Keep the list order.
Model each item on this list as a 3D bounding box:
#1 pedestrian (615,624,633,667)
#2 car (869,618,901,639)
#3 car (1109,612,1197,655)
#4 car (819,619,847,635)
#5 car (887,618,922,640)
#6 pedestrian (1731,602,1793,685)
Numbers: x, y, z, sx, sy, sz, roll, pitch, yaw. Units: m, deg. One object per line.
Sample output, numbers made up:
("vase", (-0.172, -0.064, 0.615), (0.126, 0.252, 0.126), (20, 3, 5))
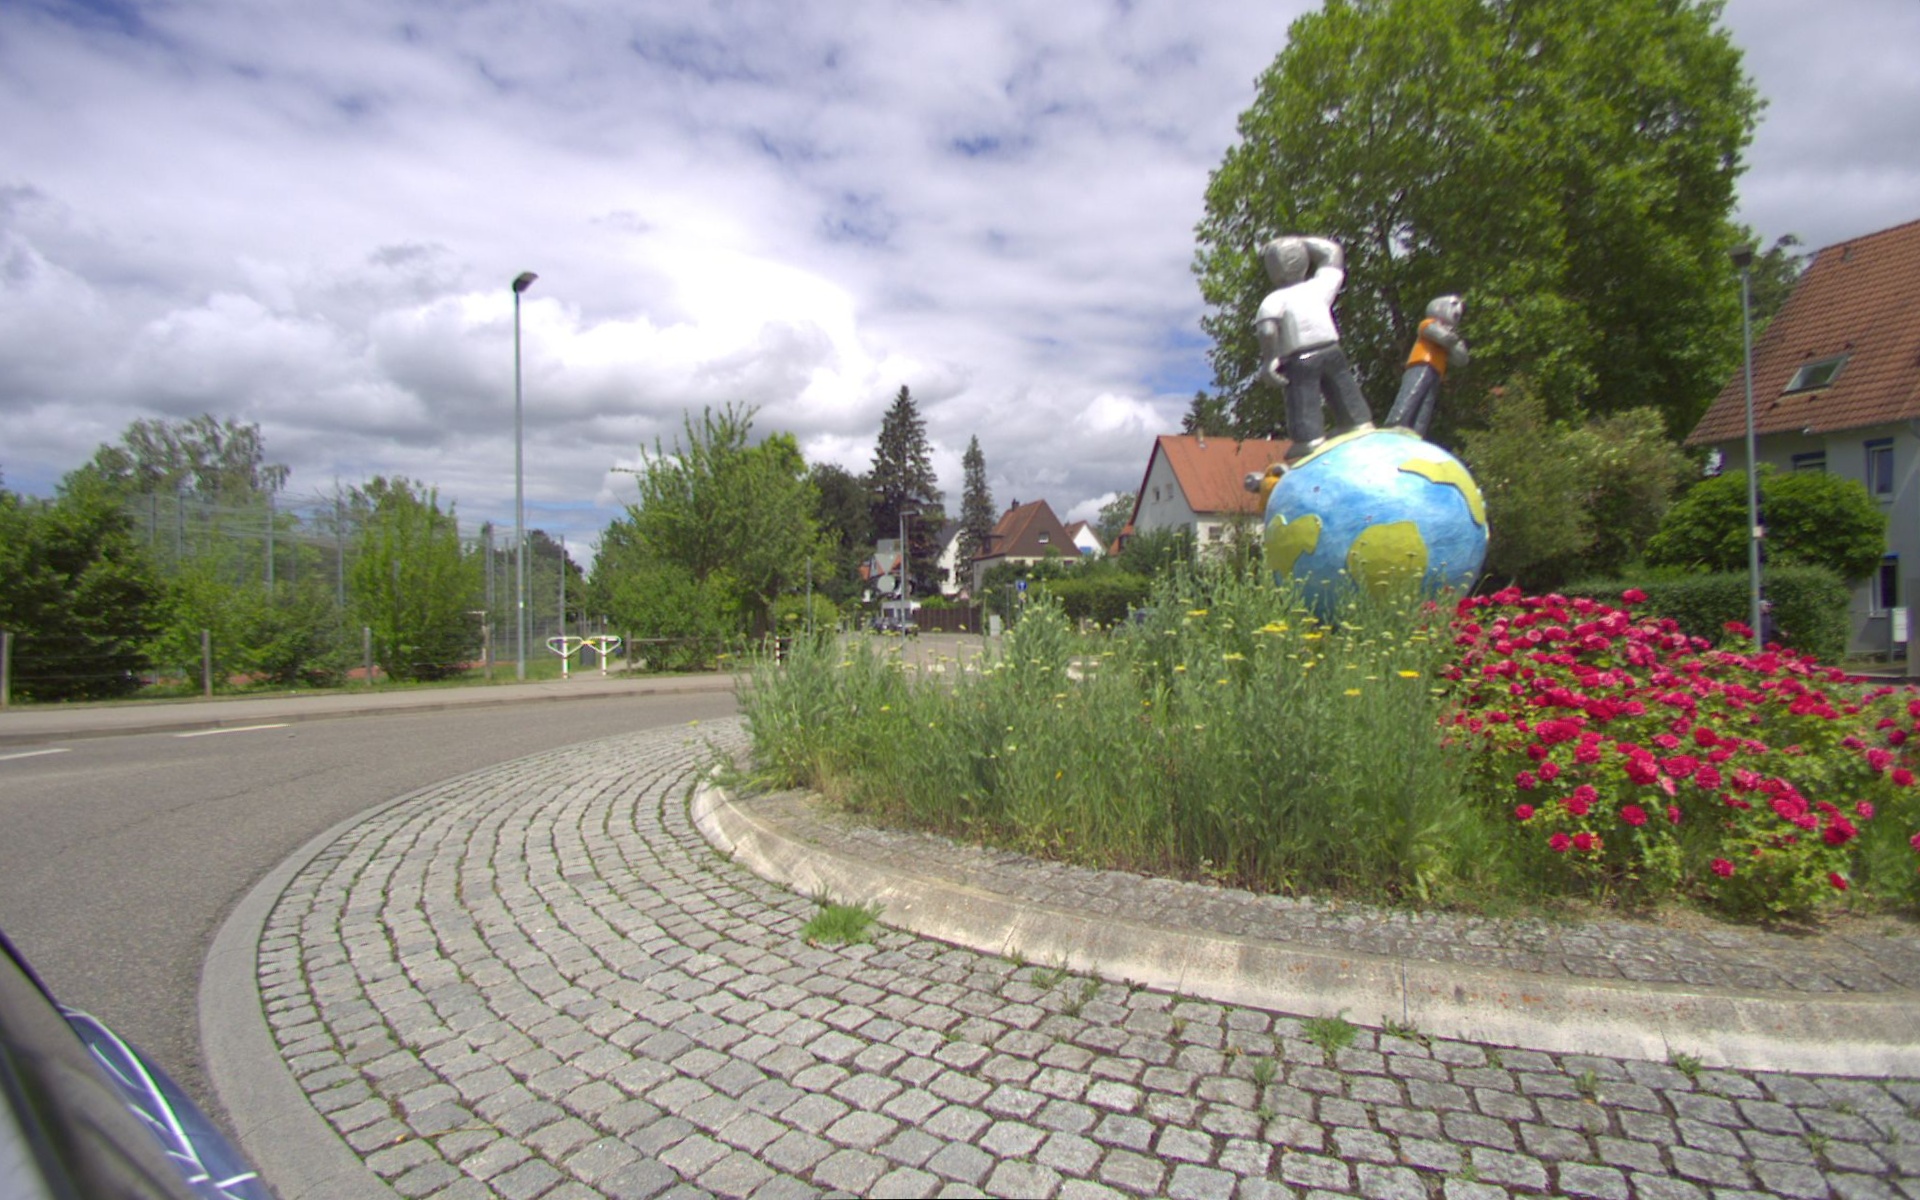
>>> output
("pedestrian", (-13.735, 1.848, 41.331), (0.597, 1.710, 0.569), (-1, 0, -26))
("car", (-6.248, 2.329, 84.201), (1.757, 1.589, 4.012), (-1, 0, -17))
("car", (7.872, 1.345, 41.634), (1.652, 1.674, 4.013), (0, -1, -21))
("car", (-13.675, 2.917, 108.665), (1.965, 1.719, 4.013), (1, -1, -22))
("car", (-4.348, 2.259, 78.885), (1.832, 1.589, 4.012), (-1, 0, -17))
("pedestrian", (16.921, 0.895, 21.358), (0.733, 1.704, 0.696), (-1, 0, -16))
